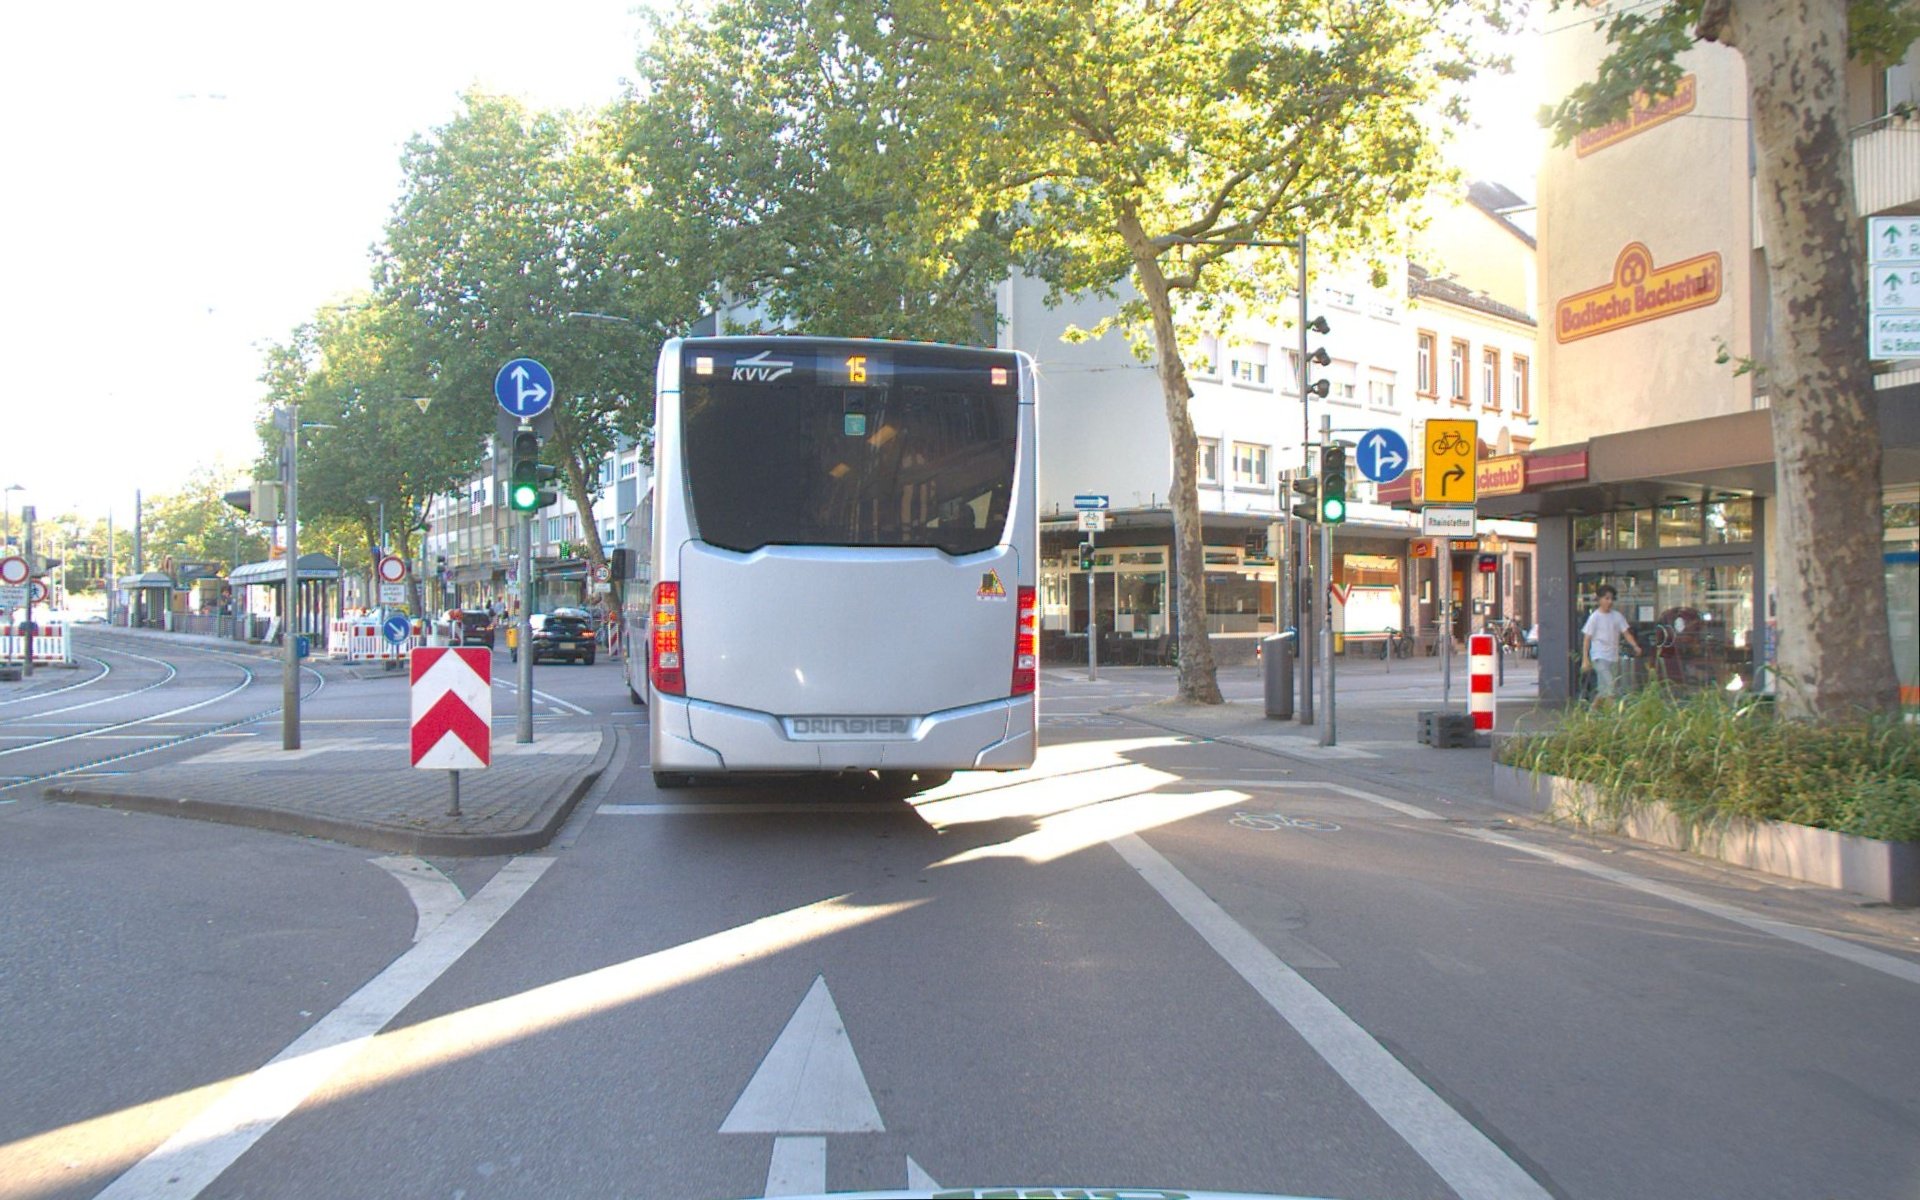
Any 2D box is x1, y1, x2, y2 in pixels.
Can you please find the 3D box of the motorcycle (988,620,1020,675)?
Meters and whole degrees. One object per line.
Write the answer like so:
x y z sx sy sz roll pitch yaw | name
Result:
0.961 1.045 36.486 0.559 1.178 1.459 2 -1 -3 | motorcycle

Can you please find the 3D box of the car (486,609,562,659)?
-13.727 1.050 51.971 1.733 1.490 3.970 0 0 -24 | car

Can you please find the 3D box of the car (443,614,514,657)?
-17.152 1.235 58.804 1.735 1.490 3.964 0 0 -27 | car

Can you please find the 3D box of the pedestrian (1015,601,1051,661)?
1.943 0.836 44.211 0.704 1.575 0.600 1 -1 44 | pedestrian

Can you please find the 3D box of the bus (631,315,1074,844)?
-1.615 -0.060 15.128 2.611 3.153 10.184 0 -1 -12 | bus

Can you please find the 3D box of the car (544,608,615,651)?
-14.570 1.120 63.241 1.645 1.494 3.378 -3 2 -30 | car

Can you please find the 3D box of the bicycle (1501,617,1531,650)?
19.321 1.149 57.505 0.289 1.058 1.708 -4 0 42 | bicycle

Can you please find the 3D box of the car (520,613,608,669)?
-11.221 1.127 46.673 1.733 1.490 3.970 0 0 -24 | car

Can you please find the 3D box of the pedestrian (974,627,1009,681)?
0.751 1.294 39.577 0.544 1.265 0.726 2 -1 -27 | pedestrian

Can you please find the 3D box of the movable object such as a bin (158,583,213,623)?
-50.175 0.184 107.123 2.472 2.520 5.292 0 -1 -34 | movable object such as a bin

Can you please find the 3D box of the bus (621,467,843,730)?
-3.779 0.045 25.097 2.611 3.153 10.184 0 -1 -12 | bus

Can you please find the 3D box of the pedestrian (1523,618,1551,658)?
18.803 1.229 53.877 0.541 1.265 0.730 2 -1 -12 | pedestrian

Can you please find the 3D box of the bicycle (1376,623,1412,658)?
13.384 1.240 50.940 0.289 1.059 1.708 -4 -3 42 | bicycle

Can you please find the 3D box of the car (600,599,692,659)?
-8.995 0.812 47.203 1.738 1.656 3.582 0 -1 -26 | car

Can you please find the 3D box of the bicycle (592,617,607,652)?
-13.069 1.242 59.918 0.498 1.232 2.085 0 0 -13 | bicycle

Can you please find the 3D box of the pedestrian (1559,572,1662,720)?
7.920 0.543 20.164 0.822 1.742 0.790 -2 1 -17 | pedestrian
